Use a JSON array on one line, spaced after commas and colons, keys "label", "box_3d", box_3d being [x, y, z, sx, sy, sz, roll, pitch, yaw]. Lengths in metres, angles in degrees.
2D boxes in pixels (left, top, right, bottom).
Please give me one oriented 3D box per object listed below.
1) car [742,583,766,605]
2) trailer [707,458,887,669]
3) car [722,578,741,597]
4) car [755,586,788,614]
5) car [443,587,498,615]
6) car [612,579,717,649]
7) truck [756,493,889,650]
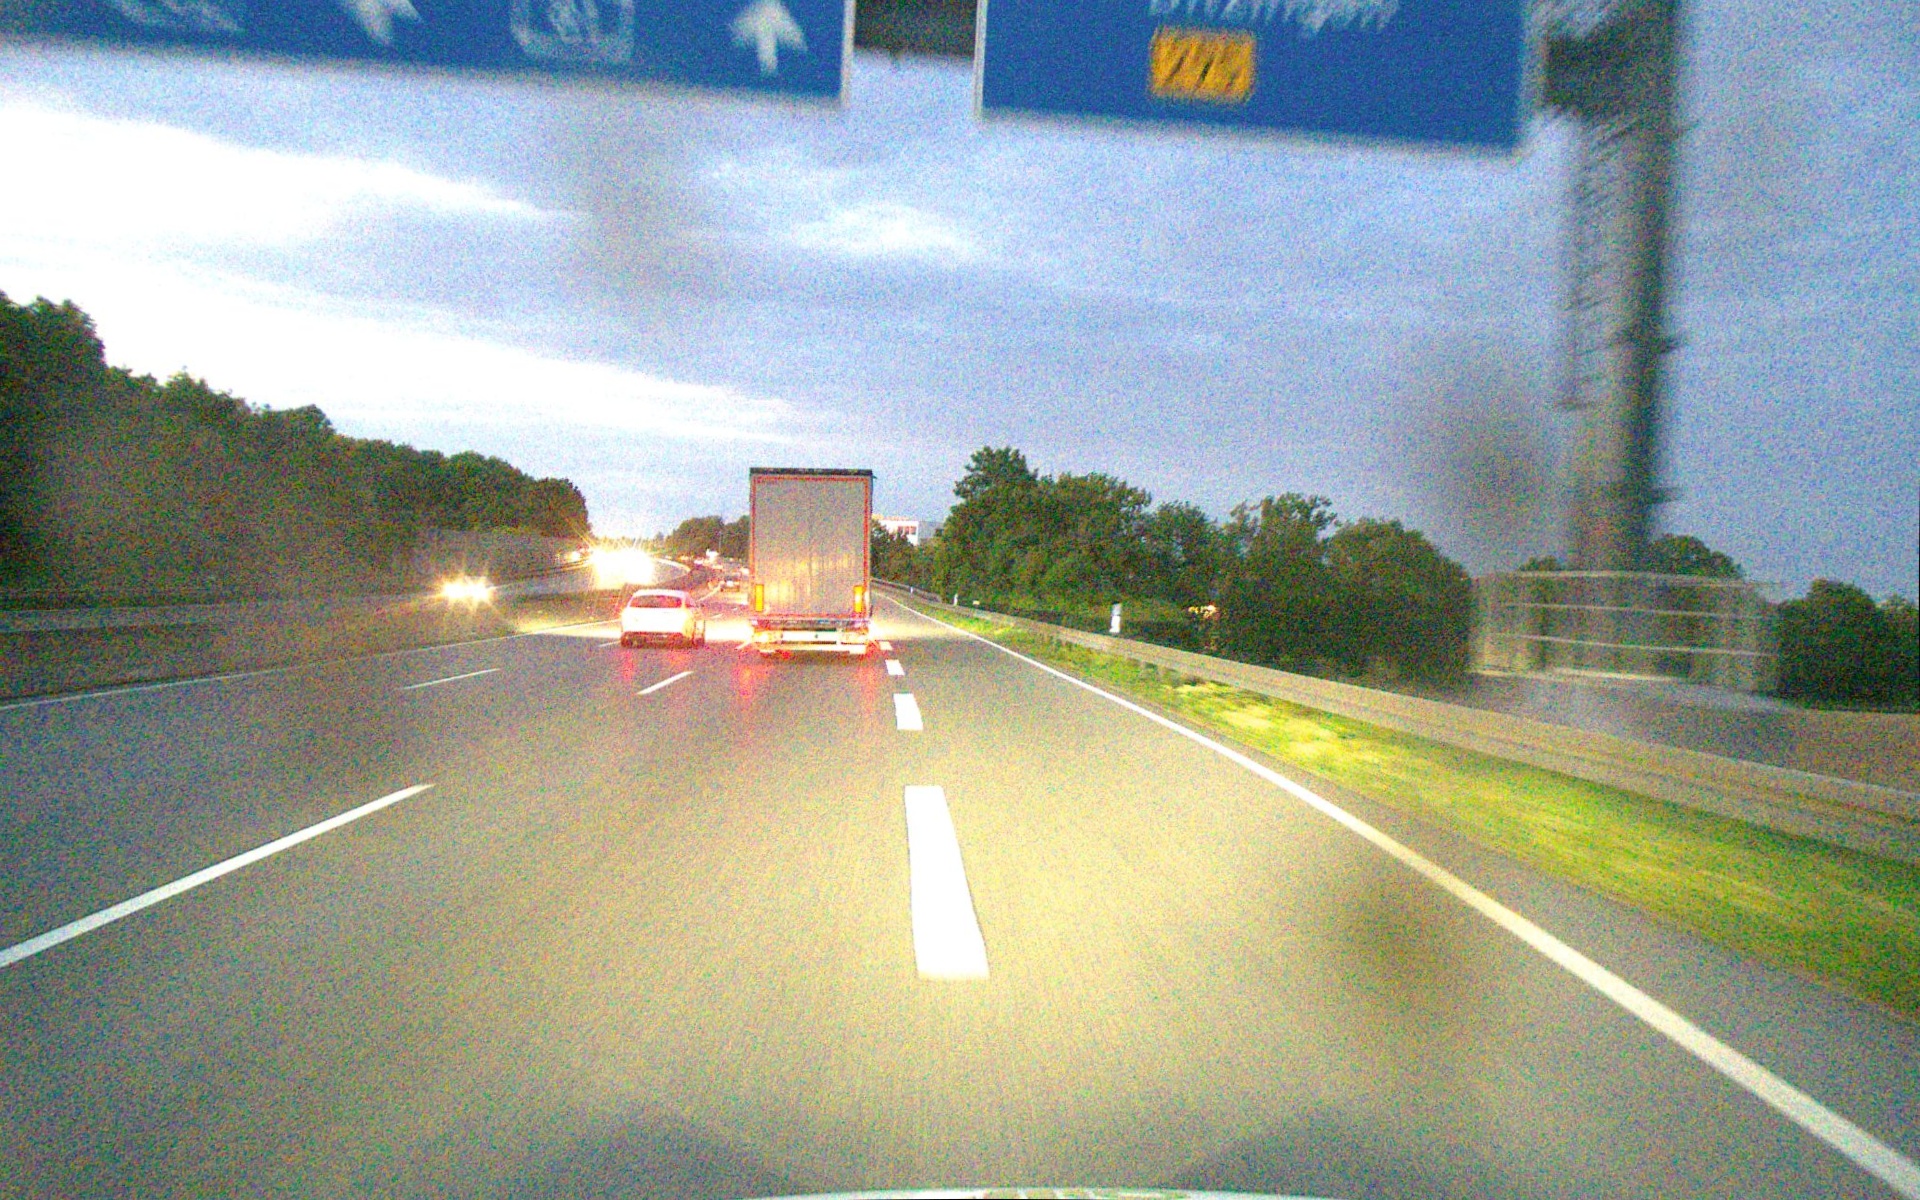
[{"label": "car", "box_3d": [-20.813, -0.551, 167.212, 1.953, 2.049, 3.998, 2, -2, -1]}, {"label": "trailer", "box_3d": [-3.589, -0.745, 40.611, 3.479, 4.188, 15.056, 1, 0, -2]}, {"label": "car", "box_3d": [-21.185, -1.146, 153.393, 1.728, 1.602, 4.568, 2, -2, -7]}, {"label": "car", "box_3d": [-12.447, 0.027, 109.644, 2.025, 1.715, 4.571, 2, -2, -5]}, {"label": "car", "box_3d": [-27.054, 0.033, 91.564, 1.954, 1.444, 4.149, 2, 0, -3]}, {"label": "car", "box_3d": [-7.568, 0.401, 42.763, 1.868, 1.642, 4.802, 2, -2, -1]}, {"label": "truck", "box_3d": [-3.805, -0.775, 47.237, 3.479, 4.162, 6.148, 1, 0, -2]}]
